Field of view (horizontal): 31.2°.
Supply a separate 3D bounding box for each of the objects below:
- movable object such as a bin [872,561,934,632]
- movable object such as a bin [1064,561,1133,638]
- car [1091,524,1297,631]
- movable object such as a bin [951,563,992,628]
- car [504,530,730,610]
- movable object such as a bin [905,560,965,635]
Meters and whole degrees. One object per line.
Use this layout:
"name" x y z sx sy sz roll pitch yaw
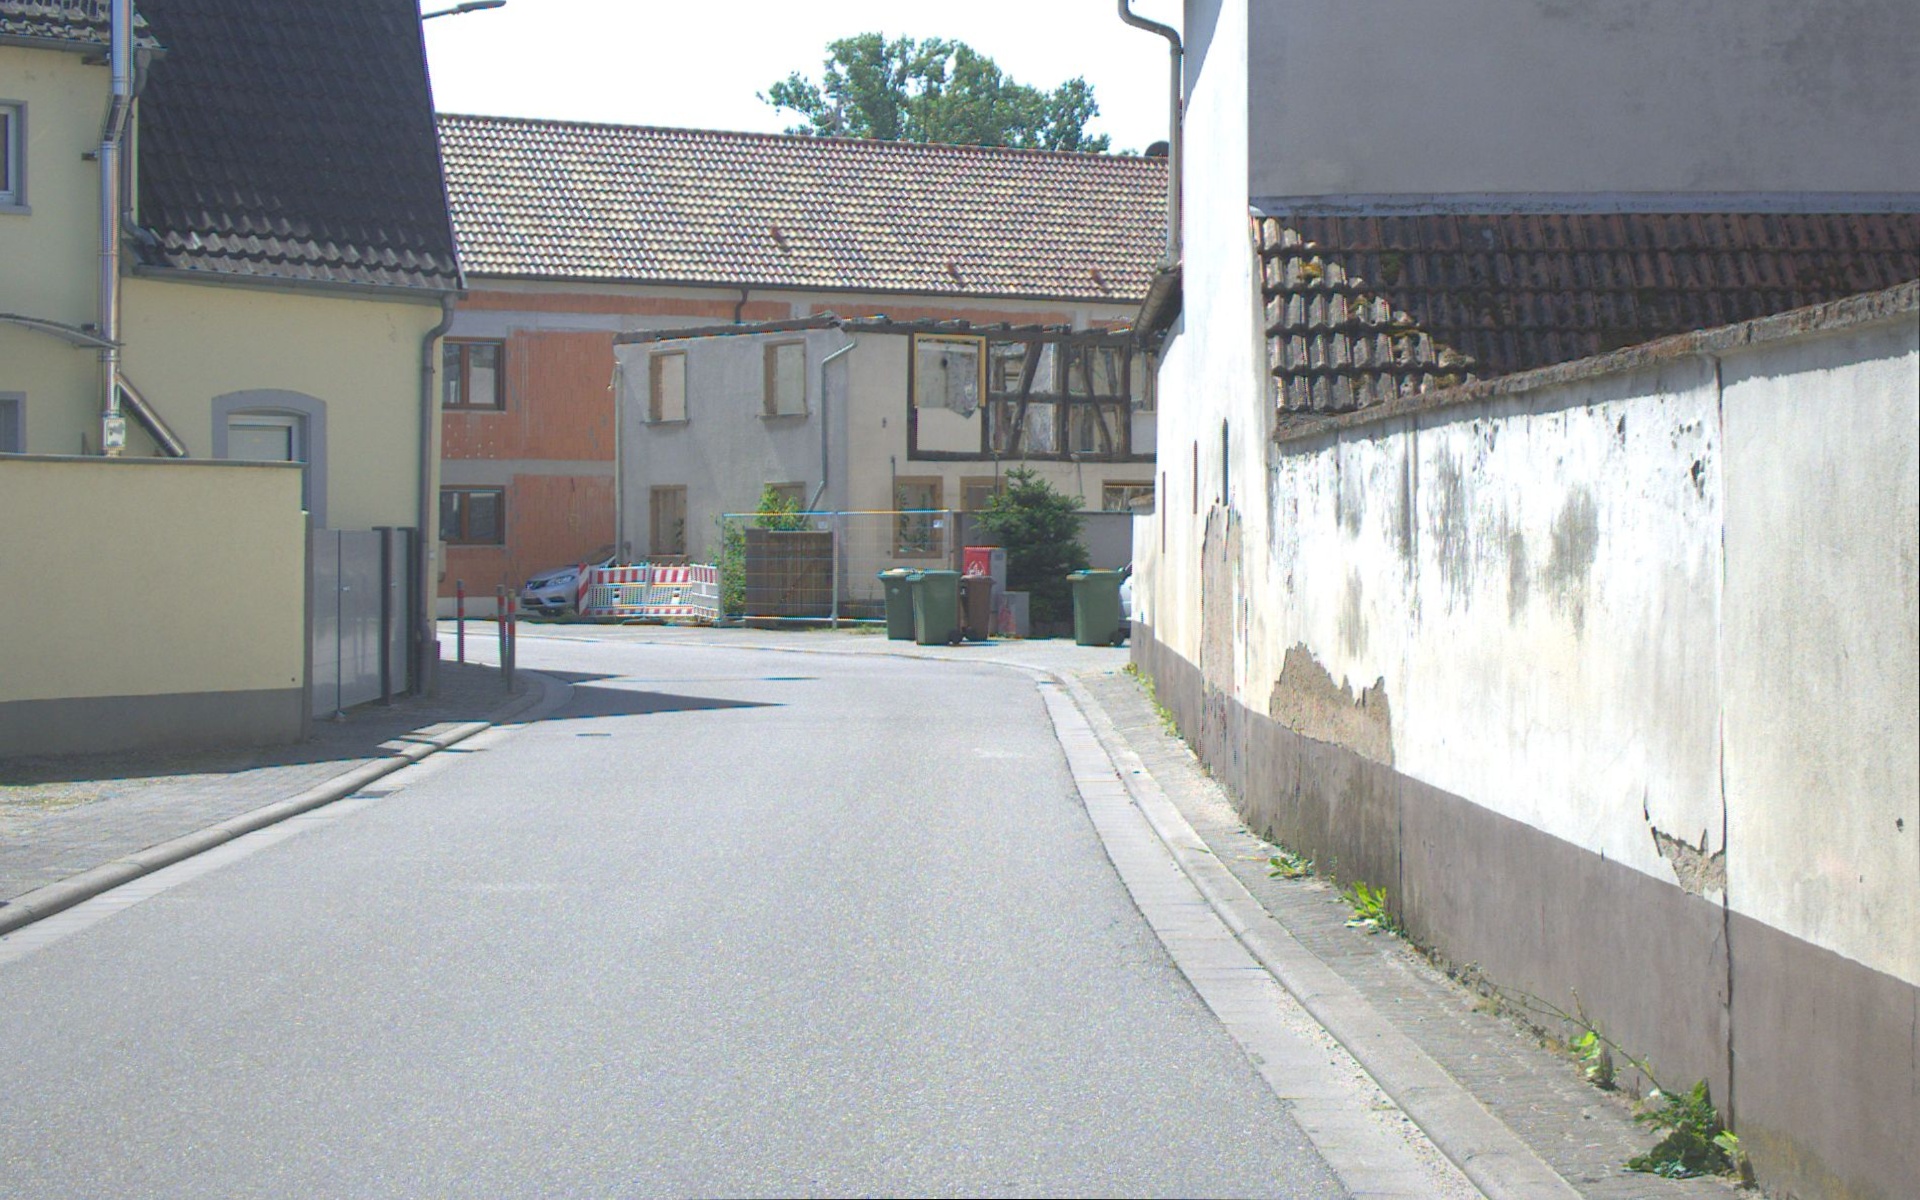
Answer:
"movable object such as a bin" -0.871 -0.061 52.682 0.671 1.068 0.760 1 1 27
"movable object such as a bin" 1.978 -0.011 49.321 0.720 1.077 0.755 0 1 -25
"car" 3.501 -0.377 52.250 1.810 1.523 4.298 -1 2 -15
"movable object such as a bin" 0.169 -0.068 51.819 0.465 0.967 0.496 0 1 -23
"car" -6.847 -0.624 68.711 4.089 1.502 1.870 -2 2 -35
"movable object such as a bin" -0.364 -0.038 50.411 0.686 1.088 0.638 0 1 -22
